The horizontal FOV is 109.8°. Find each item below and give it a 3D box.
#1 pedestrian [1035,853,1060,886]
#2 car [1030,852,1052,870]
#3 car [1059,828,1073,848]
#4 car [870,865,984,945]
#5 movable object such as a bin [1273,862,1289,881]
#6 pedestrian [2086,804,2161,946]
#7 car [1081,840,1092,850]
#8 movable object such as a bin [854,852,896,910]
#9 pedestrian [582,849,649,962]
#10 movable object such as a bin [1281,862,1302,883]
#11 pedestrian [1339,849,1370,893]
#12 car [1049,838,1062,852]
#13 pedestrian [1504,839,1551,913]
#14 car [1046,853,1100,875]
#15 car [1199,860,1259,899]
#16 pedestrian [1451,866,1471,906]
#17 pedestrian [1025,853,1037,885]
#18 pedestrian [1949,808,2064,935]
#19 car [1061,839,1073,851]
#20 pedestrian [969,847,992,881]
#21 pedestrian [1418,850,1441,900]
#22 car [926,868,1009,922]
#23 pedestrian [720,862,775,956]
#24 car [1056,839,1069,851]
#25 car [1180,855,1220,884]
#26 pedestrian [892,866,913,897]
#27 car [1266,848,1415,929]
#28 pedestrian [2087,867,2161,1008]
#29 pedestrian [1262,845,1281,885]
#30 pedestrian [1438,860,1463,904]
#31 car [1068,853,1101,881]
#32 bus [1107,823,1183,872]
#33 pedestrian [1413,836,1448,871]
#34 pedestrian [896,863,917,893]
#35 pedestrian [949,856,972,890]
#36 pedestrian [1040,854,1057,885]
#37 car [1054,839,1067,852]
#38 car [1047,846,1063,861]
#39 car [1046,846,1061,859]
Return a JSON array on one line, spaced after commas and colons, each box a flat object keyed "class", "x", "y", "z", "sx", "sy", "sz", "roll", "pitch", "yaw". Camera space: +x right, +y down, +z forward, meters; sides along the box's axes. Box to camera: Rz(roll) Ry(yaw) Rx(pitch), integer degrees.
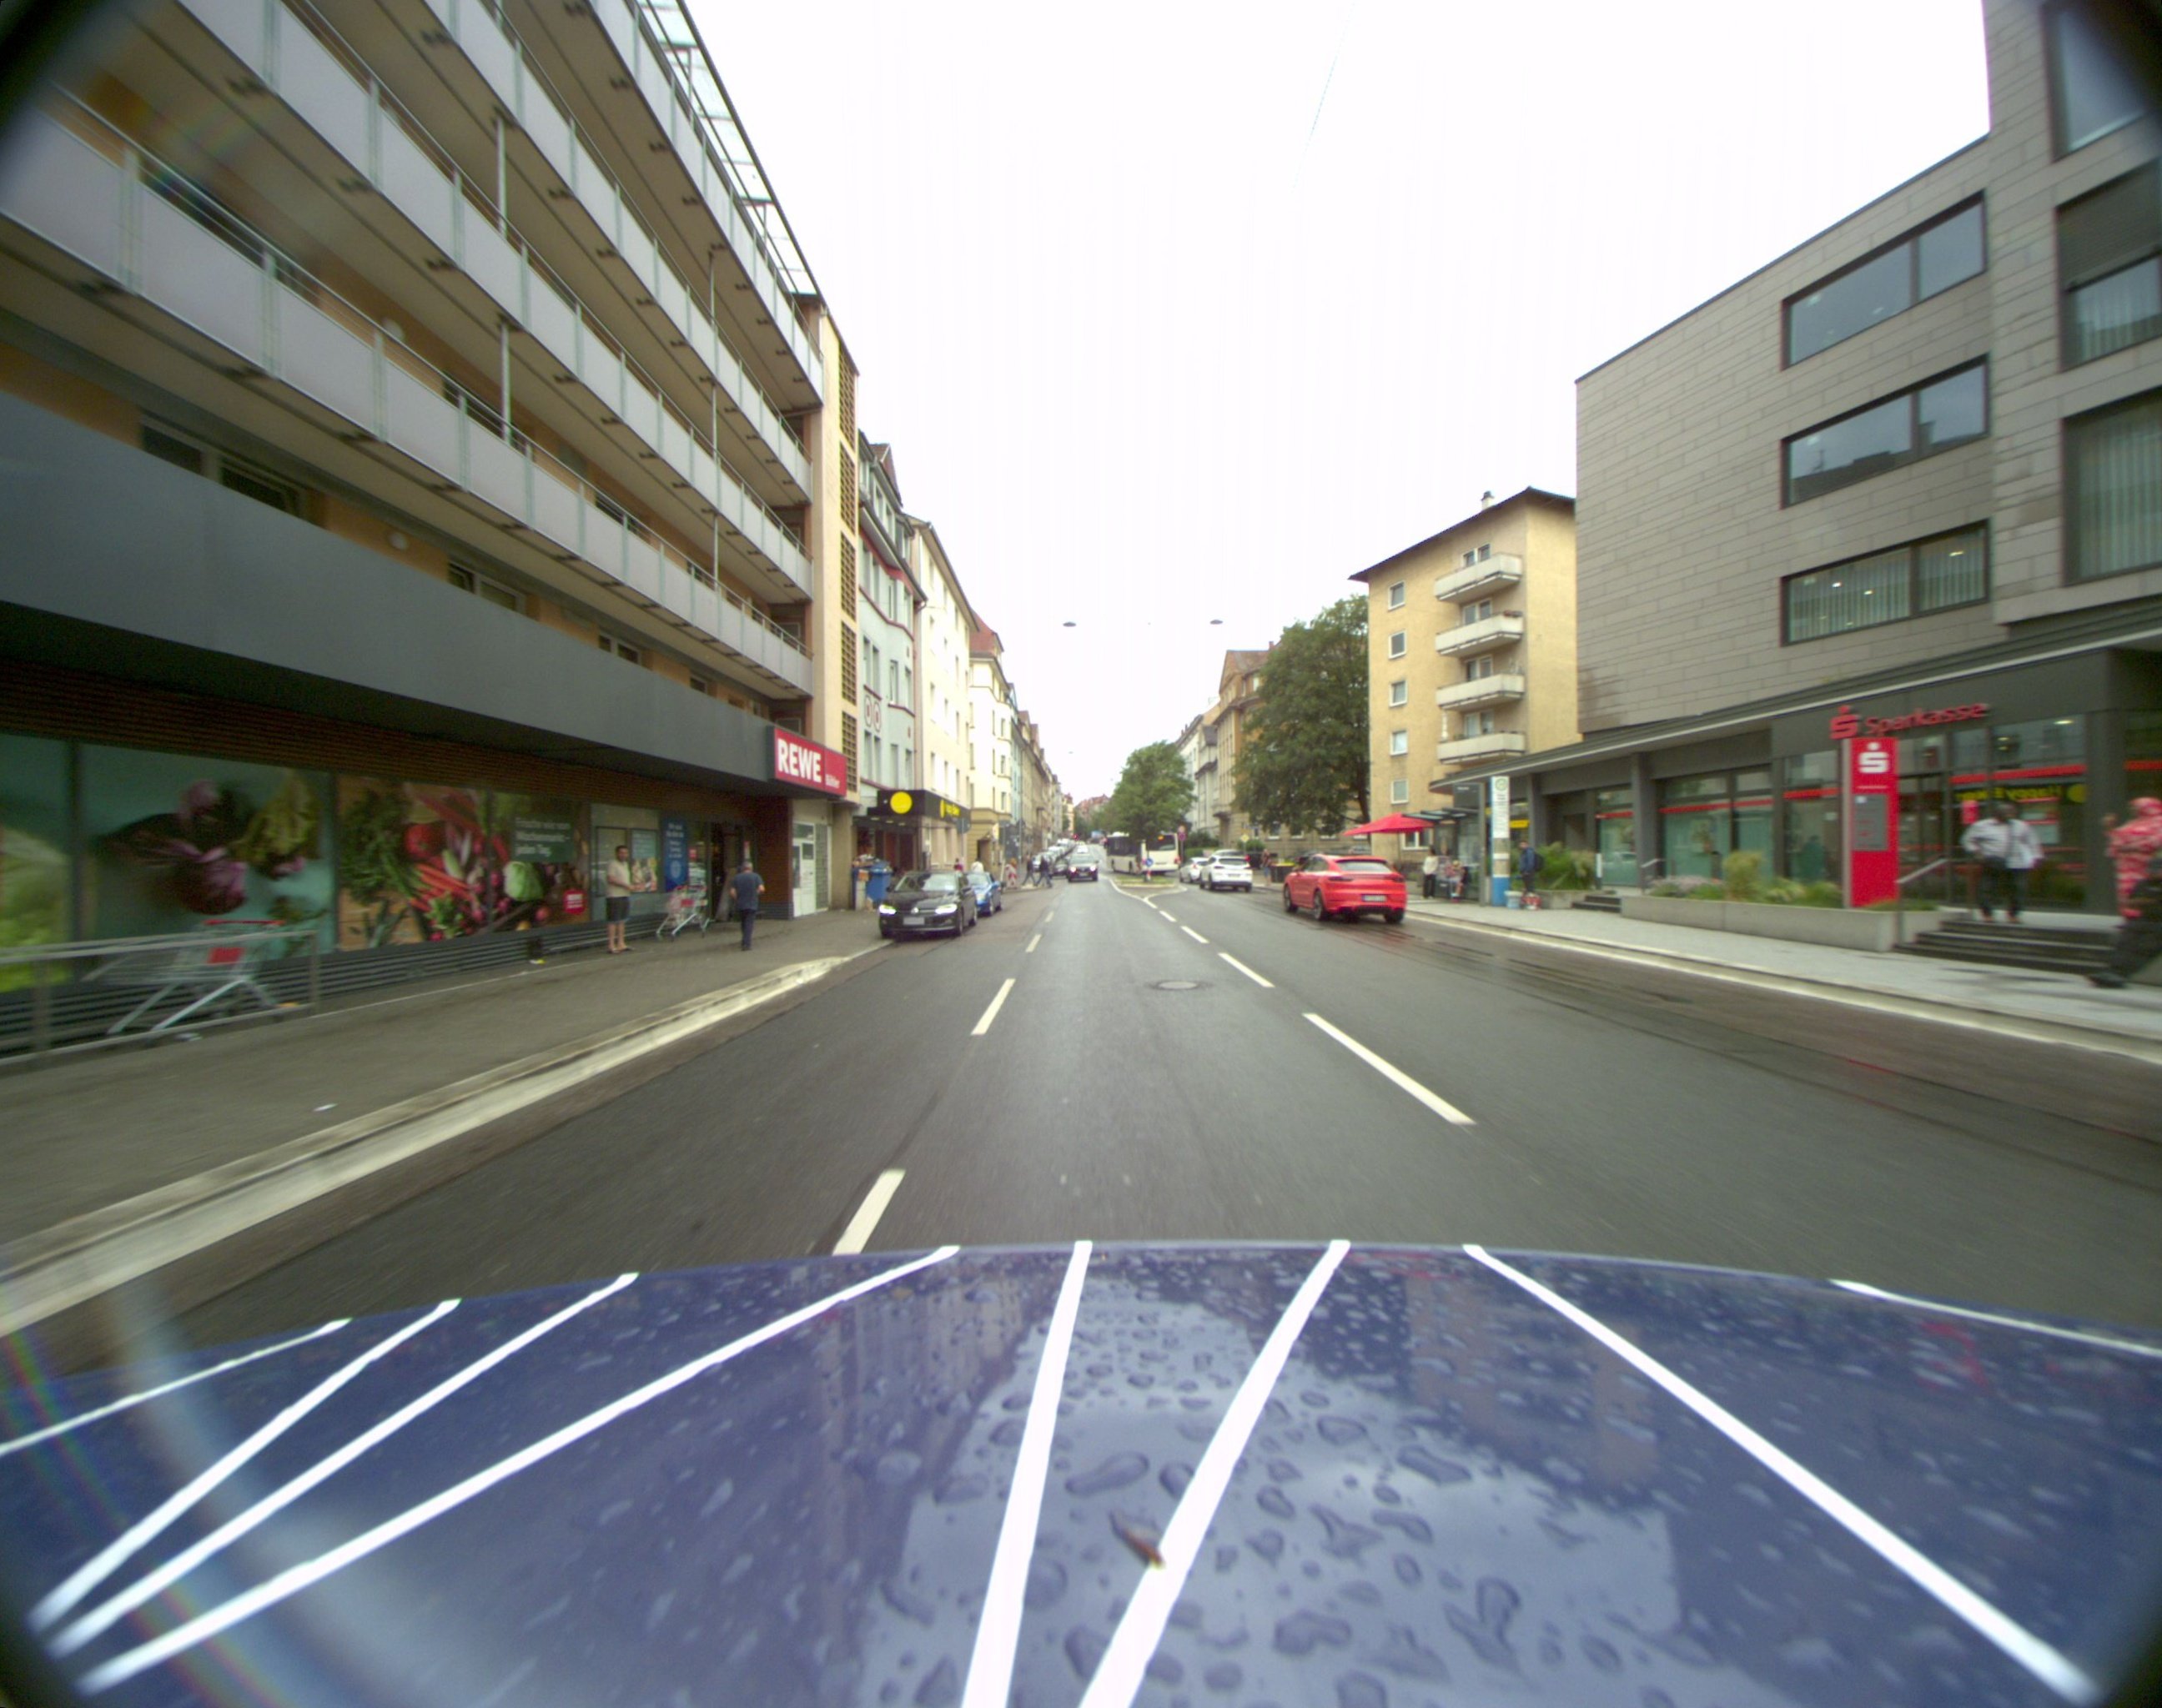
[{"class": "pedestrian", "x": -1.756, "y": 0.810, "z": 40.133, "sx": 1.061, "sy": 1.738, "sz": 0.855, "roll": 1, "pitch": 1, "yaw": 17}, {"class": "car", "x": -3.547, "y": 0.580, "z": 68.058, "sx": 1.856, "sy": 1.456, "sz": 4.203, "roll": -2, "pitch": 1, "yaw": -1}, {"class": "car", "x": -2.838, "y": -3.083, "z": 144.999, "sx": 2.554, "sy": 3.613, "sz": 9.048, "roll": -1, "pitch": 1, "yaw": -1}, {"class": "car", "x": -3.399, "y": 1.061, "z": 17.500, "sx": 1.734, "sy": 1.538, "sz": 3.981, "roll": -1, "pitch": 0, "yaw": 1}, {"class": "movable object such as a bin", "x": 11.053, "y": 0.967, "z": 42.077, "sx": 0.742, "sy": 1.052, "sz": 0.579, "roll": -1, "pitch": 1, "yaw": 4}, {"class": "pedestrian", "x": 13.064, "y": 0.241, "z": 9.257, "sx": 0.711, "sy": 1.669, "sz": 0.801, "roll": -1, "pitch": 1, "yaw": 28}, {"class": "car", "x": 0.901, "y": -1.537, "z": 128.308, "sx": 1.796, "sy": 1.768, "sz": 3.902, "roll": -1, "pitch": 1, "yaw": -1}, {"class": "movable object such as a bin", "x": -6.608, "y": 0.847, "z": 24.452, "sx": 1.002, "sy": 1.783, "sz": 1.296, "roll": 0, "pitch": 1, "yaw": -2}, {"class": "pedestrian", "x": -7.899, "y": 0.857, "z": 12.913, "sx": 0.597, "sy": 1.848, "sz": 0.727, "roll": -1, "pitch": 2, "yaw": 4}, {"class": "movable object such as a bin", "x": 11.421, "y": 0.995, "z": 41.240, "sx": 0.743, "sy": 1.052, "sz": 0.811, "roll": -2, "pitch": 2, "yaw": -25}, {"class": "pedestrian", "x": 10.920, "y": 0.665, "z": 30.357, "sx": 0.793, "sy": 1.699, "sz": 0.761, "roll": -3, "pitch": 1, "yaw": -25}, {"class": "car", "x": -3.402, "y": -1.225, "z": 102.178, "sx": 1.733, "sy": 1.887, "sz": 3.550, "roll": -2, "pitch": 1, "yaw": -1}, {"class": "pedestrian", "x": 11.159, "y": 0.539, "z": 19.009, "sx": 0.591, "sy": 1.809, "sz": 0.870, "roll": -1, "pitch": 1, "yaw": -8}, {"class": "car", "x": -0.556, "y": 0.709, "z": 53.988, "sx": 1.806, "sy": 1.412, "sz": 4.008, "roll": -1, "pitch": 0, "yaw": 35}, {"class": "car", "x": 6.746, "y": 1.125, "z": 35.036, "sx": 1.900, "sy": 1.564, "sz": 4.124, "roll": 1, "pitch": 1, "yaw": 0}, {"class": "pedestrian", "x": 10.879, "y": 0.908, "z": 21.758, "sx": 0.392, "sy": 1.110, "sz": 0.386, "roll": -1, "pitch": 1, "yaw": 0}, {"class": "pedestrian", "x": -2.745, "y": 0.823, "z": 41.963, "sx": 0.611, "sy": 1.738, "sz": 0.698, "roll": 1, "pitch": 1, "yaw": 1}, {"class": "pedestrian", "x": 12.718, "y": 0.236, "z": 10.459, "sx": 0.715, "sy": 1.669, "sz": 0.713, "roll": -1, "pitch": 1, "yaw": 0}, {"class": "car", "x": -2.414, "y": -1.565, "z": 130.102, "sx": 1.999, "sy": 1.871, "sz": 3.999, "roll": -1, "pitch": 1, "yaw": -1}, {"class": "pedestrian", "x": -4.882, "y": 0.489, "z": 36.834, "sx": 0.701, "sy": 1.637, "sz": 0.784, "roll": 2, "pitch": 1, "yaw": 35}, {"class": "pedestrian", "x": 10.914, "y": 0.661, "z": 23.789, "sx": 0.438, "sy": 1.540, "sz": 0.533, "roll": -1, "pitch": 1, "yaw": -1}, {"class": "car", "x": -3.334, "y": 1.187, "z": 23.033, "sx": 1.738, "sy": 1.302, "sz": 3.767, "roll": -3, "pitch": 0, "yaw": 2}, {"class": "pedestrian", "x": -6.016, "y": 0.977, "z": 13.752, "sx": 0.627, "sy": 1.642, "sz": 0.748, "roll": 0, "pitch": 1, "yaw": 2}, {"class": "car", "x": -2.976, "y": -1.406, "z": 120.968, "sx": 1.999, "sy": 1.871, "sz": 3.999, "roll": -1, "pitch": 1, "yaw": -1}, {"class": "car", "x": 6.704, "y": 0.829, "z": 43.174, "sx": 1.619, "sy": 1.455, "sz": 3.805, "roll": 2, "pitch": 1, "yaw": 0}, {"class": "pedestrian", "x": -7.311, "y": 1.114, "z": 31.080, "sx": 0.624, "sy": 1.251, "sz": 0.659, "roll": 1, "pitch": 1, "yaw": 8}, {"class": "car", "x": 6.447, "y": 0.752, "z": 19.609, "sx": 2.111, "sy": 1.754, "sz": 5.059, "roll": 1, "pitch": 1, "yaw": 0}, {"class": "pedestrian", "x": 11.264, "y": 0.858, "z": 8.016, "sx": 0.590, "sy": 1.412, "sz": 0.726, "roll": -1, "pitch": 1, "yaw": 35}, {"class": "pedestrian", "x": 9.560, "y": 0.543, "z": 38.208, "sx": 0.703, "sy": 2.002, "sz": 0.782, "roll": -1, "pitch": 2, "yaw": -3}, {"class": "pedestrian", "x": 10.806, "y": 0.814, "z": 22.239, "sx": 0.469, "sy": 1.270, "sz": 0.549, "roll": -1, "pitch": 1, "yaw": 0}, {"class": "car", "x": 0.255, "y": 0.783, "z": 46.688, "sx": 1.856, "sy": 1.646, "sz": 4.205, "roll": -1, "pitch": 0, "yaw": 1}, {"class": "bus", "x": 4.564, "y": -0.571, "z": 57.735, "sx": 2.815, "sy": 3.228, "sz": 11.948, "roll": 3, "pitch": 1, "yaw": -9}, {"class": "pedestrian", "x": 16.781, "y": 0.000, "z": 36.483, "sx": 1.153, "sy": 1.602, "sz": 0.940, "roll": -3, "pitch": 1, "yaw": -25}, {"class": "pedestrian", "x": -7.363, "y": 1.004, "z": 32.031, "sx": 0.703, "sy": 1.251, "sz": 0.658, "roll": 1, "pitch": 1, "yaw": 0}, {"class": "pedestrian", "x": -5.906, "y": 0.906, "z": 37.213, "sx": 0.701, "sy": 1.637, "sz": 0.784, "roll": 2, "pitch": 1, "yaw": 35}, {"class": "pedestrian", "x": -1.825, "y": 0.861, "z": 42.598, "sx": 0.791, "sy": 1.656, "sz": 0.699, "roll": 1, "pitch": 1, "yaw": 15}, {"class": "car", "x": -2.964, "y": -1.239, "z": 108.684, "sx": 1.719, "sy": 1.871, "sz": 3.907, "roll": -1, "pitch": 1, "yaw": -1}, {"class": "car", "x": -2.910, "y": -0.070, "z": 85.541, "sx": 1.733, "sy": 1.486, "sz": 3.550, "roll": -2, "pitch": 1, "yaw": -1}, {"class": "car", "x": -3.312, "y": -0.172, "z": 91.598, "sx": 1.733, "sy": 1.486, "sz": 3.550, "roll": -2, "pitch": 1, "yaw": -1}]
